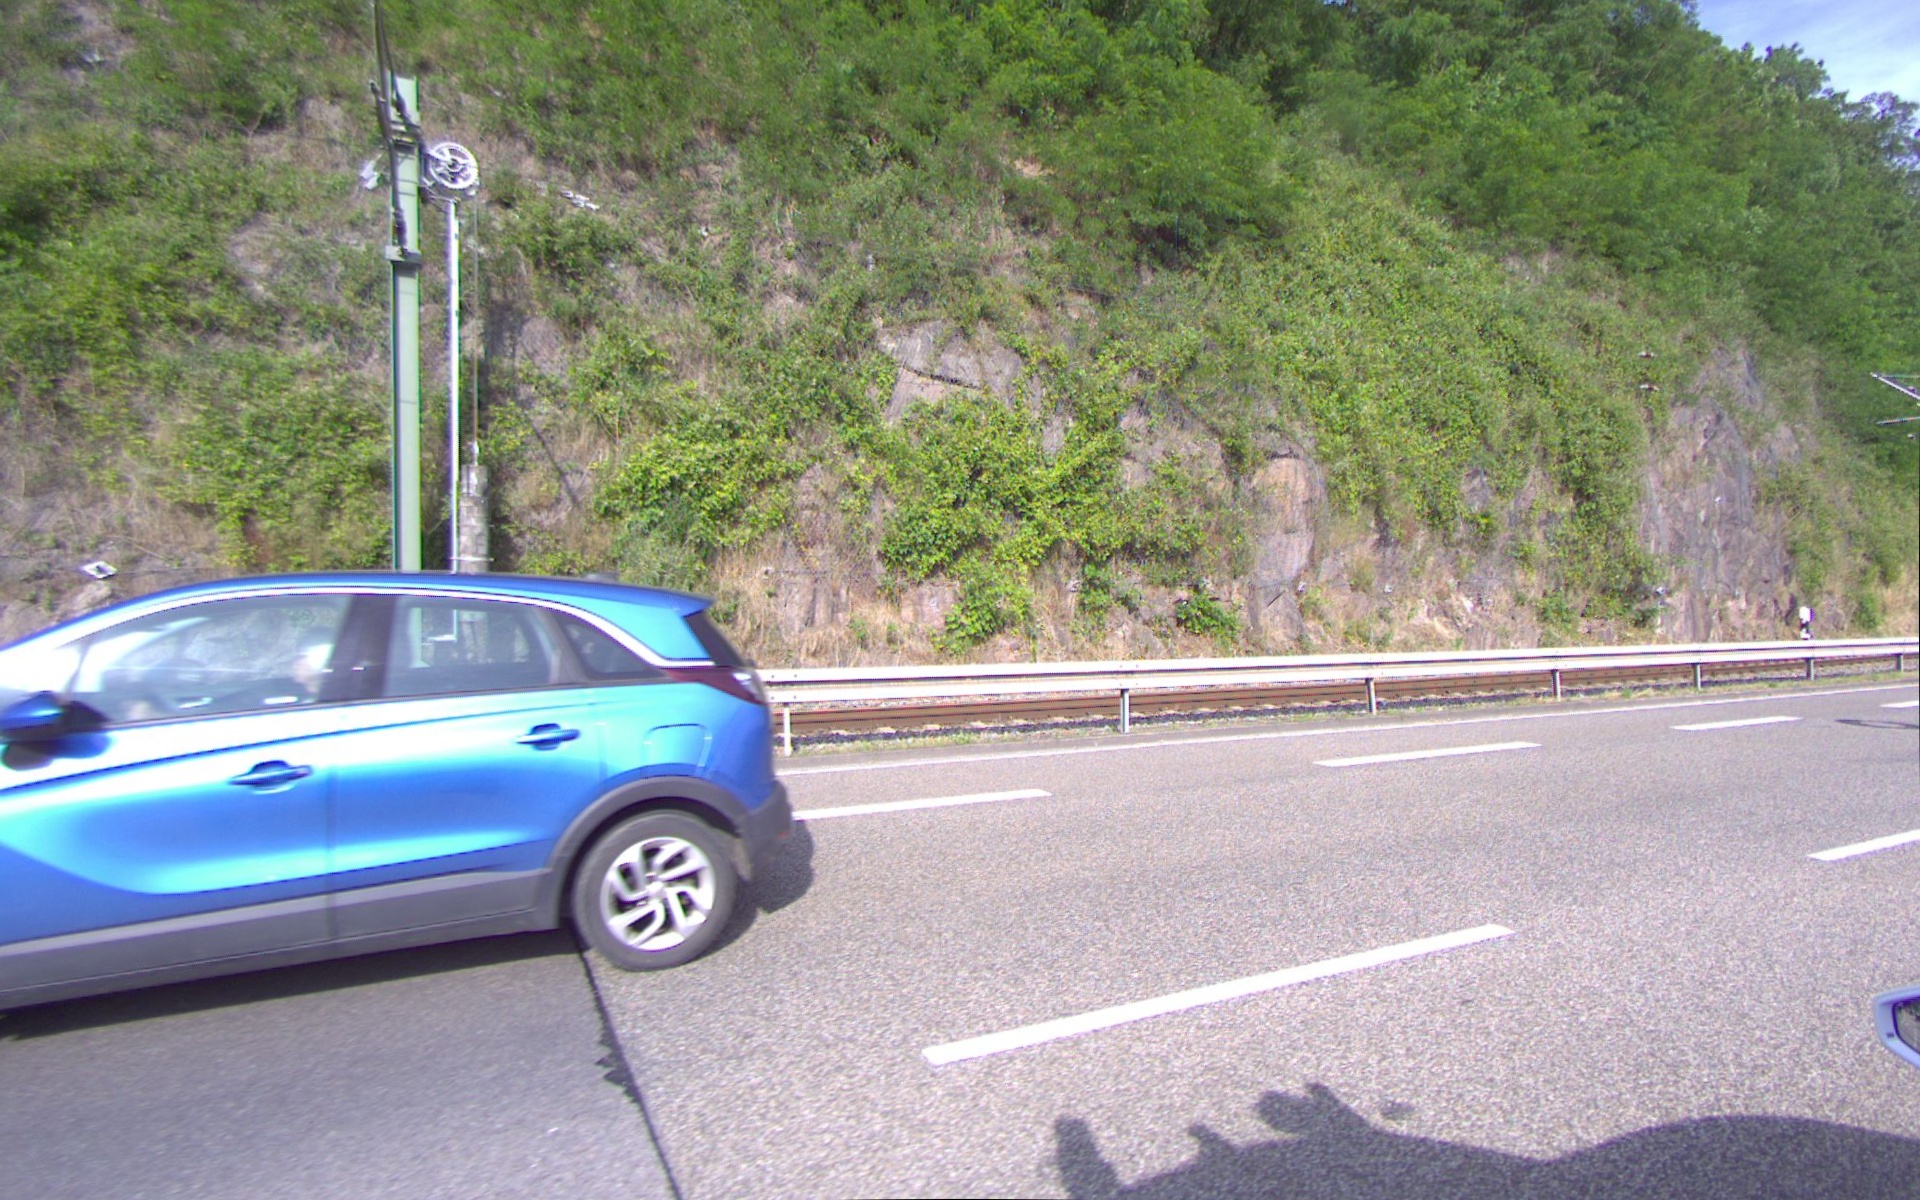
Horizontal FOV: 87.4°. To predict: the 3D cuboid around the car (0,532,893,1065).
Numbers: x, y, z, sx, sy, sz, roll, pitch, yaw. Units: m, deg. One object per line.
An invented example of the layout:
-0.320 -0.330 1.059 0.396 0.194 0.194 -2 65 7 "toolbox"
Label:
-2.481 0.599 4.183 4.083 1.591 1.711 0 0 -28 "car"
